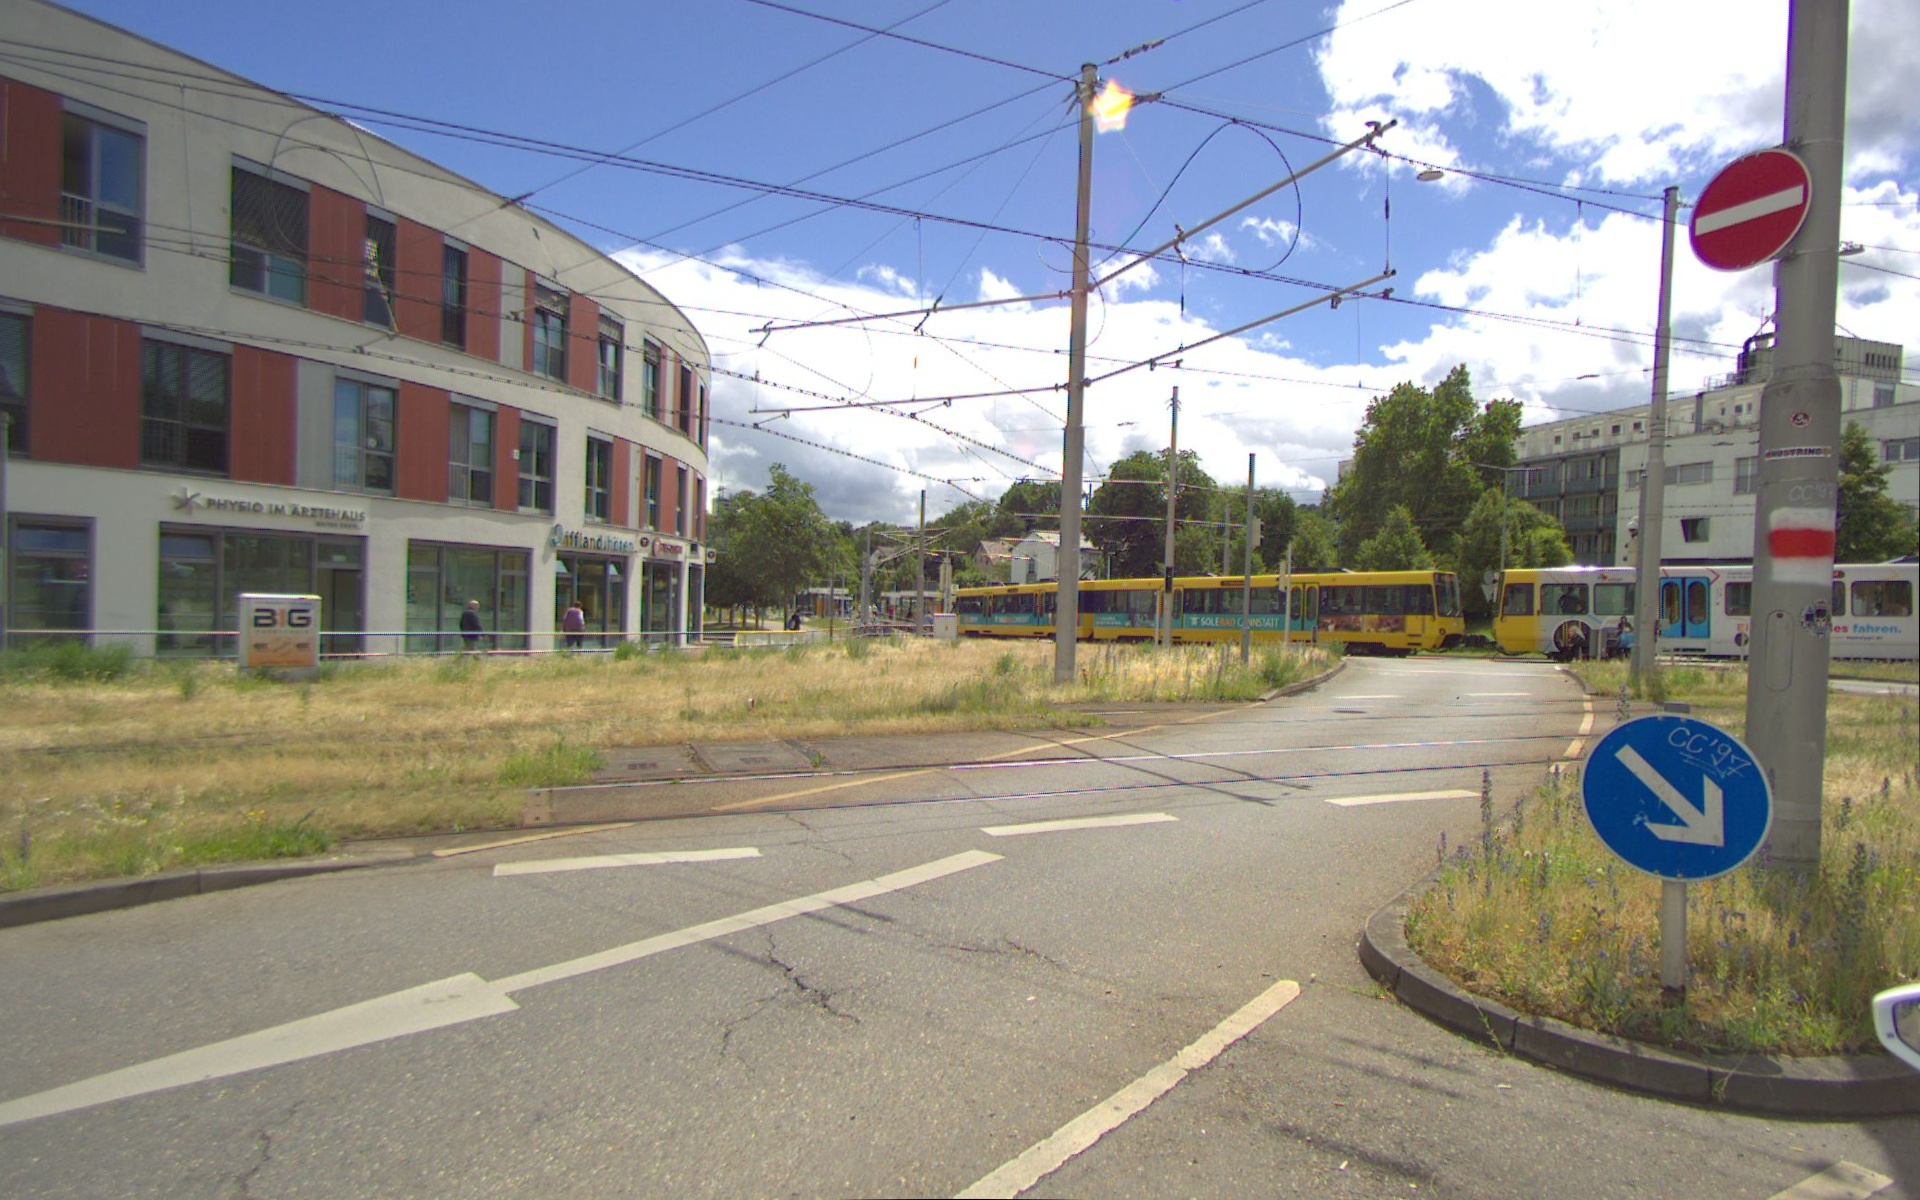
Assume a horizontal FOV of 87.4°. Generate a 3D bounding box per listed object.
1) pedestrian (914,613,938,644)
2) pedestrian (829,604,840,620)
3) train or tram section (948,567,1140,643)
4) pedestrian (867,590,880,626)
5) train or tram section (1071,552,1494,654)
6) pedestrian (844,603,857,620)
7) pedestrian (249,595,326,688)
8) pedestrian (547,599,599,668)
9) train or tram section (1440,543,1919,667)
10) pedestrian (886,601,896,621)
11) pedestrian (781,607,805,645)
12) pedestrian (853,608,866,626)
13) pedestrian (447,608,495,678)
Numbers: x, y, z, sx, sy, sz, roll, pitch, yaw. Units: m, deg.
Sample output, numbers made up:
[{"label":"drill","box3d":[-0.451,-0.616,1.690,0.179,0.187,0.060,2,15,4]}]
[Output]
[{"label":"pedestrian","box3d":[-1.812,1.555,54.141,0.965,1.646,1.036,1,-1,17]},{"label":"pedestrian","box3d":[-16.696,1.593,133.464,1.241,2.040,1.121,2,-1,-19]},{"label":"train or tram section","box3d":[4.483,0.435,62.820,3.708,3.970,18.793,2,-2,-23]},{"label":"pedestrian","box3d":[-14.946,1.376,173.219,1.964,5.998,2.368,2,-1,-9]},{"label":"train or tram section","box3d":[13.760,0.215,46.997,3.732,3.880,19.913,3,-2,-40]},{"label":"pedestrian","box3d":[-13.349,1.371,122.397,1.241,2.040,1.121,2,-1,-19]},{"label":"pedestrian","box3d":[-14.965,0.916,22.379,0.849,1.994,1.114,1,-1,29]},{"label":"pedestrian","box3d":[-11.582,1.003,30.059,0.849,1.994,1.104,1,-1,30]},{"label":"train or tram section","box3d":[28.106,0.193,35.236,20.253,3.930,3.757,1,-2,27]},{"label":"pedestrian","box3d":[-7.228,1.144,105.007,0.807,2.040,0.771,2,-1,-15]},{"label":"pedestrian","box3d":[-7.468,1.161,44.966,0.847,1.646,0.733,1,-1,7]},{"label":"pedestrian","box3d":[-11.688,2.010,116.675,1.241,2.040,1.121,2,-1,-19]},{"label":"pedestrian","box3d":[-11.424,1.001,23.482,0.722,1.601,0.690,0,-1,28]}]
